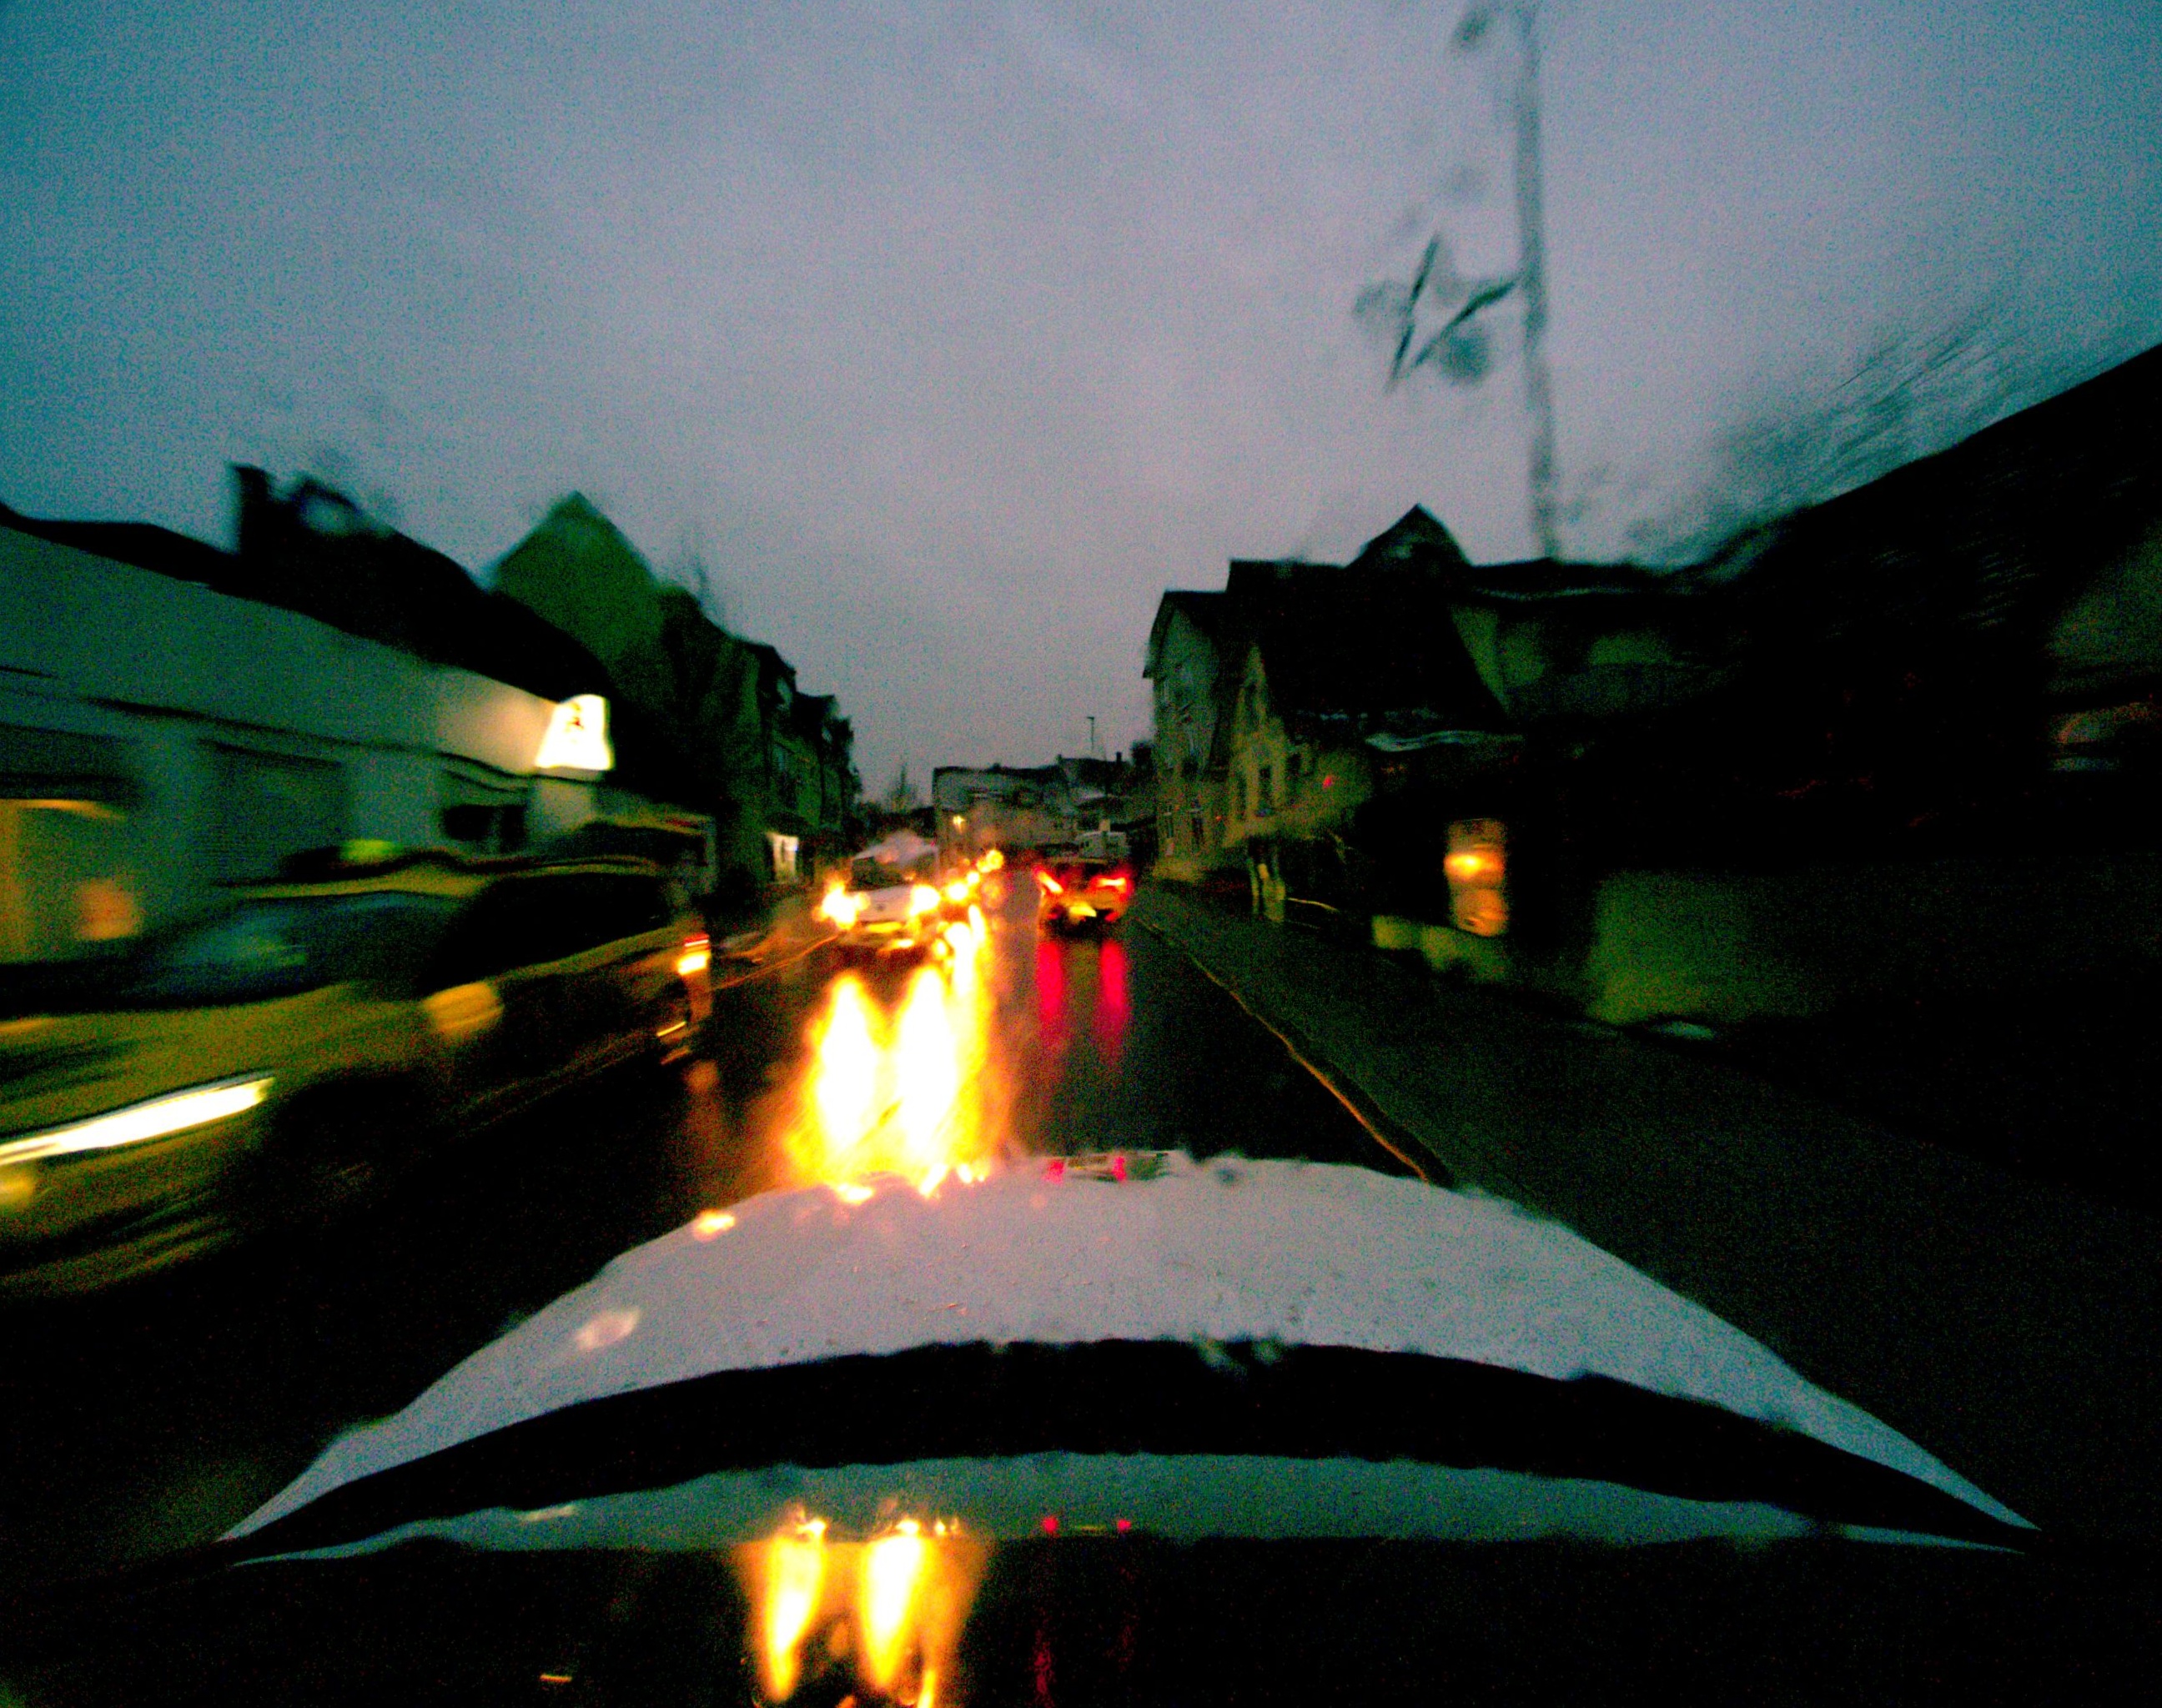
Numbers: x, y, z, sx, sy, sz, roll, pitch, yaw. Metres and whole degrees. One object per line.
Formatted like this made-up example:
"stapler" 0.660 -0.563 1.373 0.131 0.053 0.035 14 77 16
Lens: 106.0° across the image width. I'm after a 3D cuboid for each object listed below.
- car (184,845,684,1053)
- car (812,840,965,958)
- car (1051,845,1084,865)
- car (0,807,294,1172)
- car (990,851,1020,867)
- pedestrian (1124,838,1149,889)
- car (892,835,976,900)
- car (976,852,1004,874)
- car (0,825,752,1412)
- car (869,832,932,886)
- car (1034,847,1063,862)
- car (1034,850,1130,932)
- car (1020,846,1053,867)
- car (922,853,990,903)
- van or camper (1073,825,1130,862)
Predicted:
"car" -6.565 0.797 9.175 1.875 1.710 4.711 -1 0 -1
"car" -3.216 0.642 14.508 1.948 1.546 4.409 -3 3 -5
"car" -1.276 0.145 75.069 1.997 1.610 4.154 -4 -1 -14
"car" -6.281 0.690 2.994 2.082 1.792 5.016 -1 0 -4
"car" -7.812 0.515 83.425 1.897 1.462 3.601 -2 1 -27
"pedestrian" 1.924 0.327 28.444 0.743 1.729 0.872 -2 1 -3
"car" -3.890 0.305 22.218 1.855 1.555 4.250 -2 1 -5
"car" -7.045 0.652 62.649 1.993 1.588 3.988 -1 0 -8
"car" -3.891 0.707 4.802 1.988 1.705 4.964 1 1 -2
"car" -9.222 0.260 42.224 2.483 2.560 6.745 0 -1 -7
"car" -3.451 0.001 86.822 1.828 1.462 4.519 -4 1 -19
"car" -0.096 0.712 17.570 1.811 1.533 3.995 -1 0 -4
"car" -4.126 0.259 74.674 1.998 1.765 4.326 -4 1 -16
"car" -4.381 0.782 29.176 1.990 1.555 4.252 -2 1 -4
"van or camper" 1.796 -0.909 75.886 2.662 3.047 6.683 -5 1 -22
